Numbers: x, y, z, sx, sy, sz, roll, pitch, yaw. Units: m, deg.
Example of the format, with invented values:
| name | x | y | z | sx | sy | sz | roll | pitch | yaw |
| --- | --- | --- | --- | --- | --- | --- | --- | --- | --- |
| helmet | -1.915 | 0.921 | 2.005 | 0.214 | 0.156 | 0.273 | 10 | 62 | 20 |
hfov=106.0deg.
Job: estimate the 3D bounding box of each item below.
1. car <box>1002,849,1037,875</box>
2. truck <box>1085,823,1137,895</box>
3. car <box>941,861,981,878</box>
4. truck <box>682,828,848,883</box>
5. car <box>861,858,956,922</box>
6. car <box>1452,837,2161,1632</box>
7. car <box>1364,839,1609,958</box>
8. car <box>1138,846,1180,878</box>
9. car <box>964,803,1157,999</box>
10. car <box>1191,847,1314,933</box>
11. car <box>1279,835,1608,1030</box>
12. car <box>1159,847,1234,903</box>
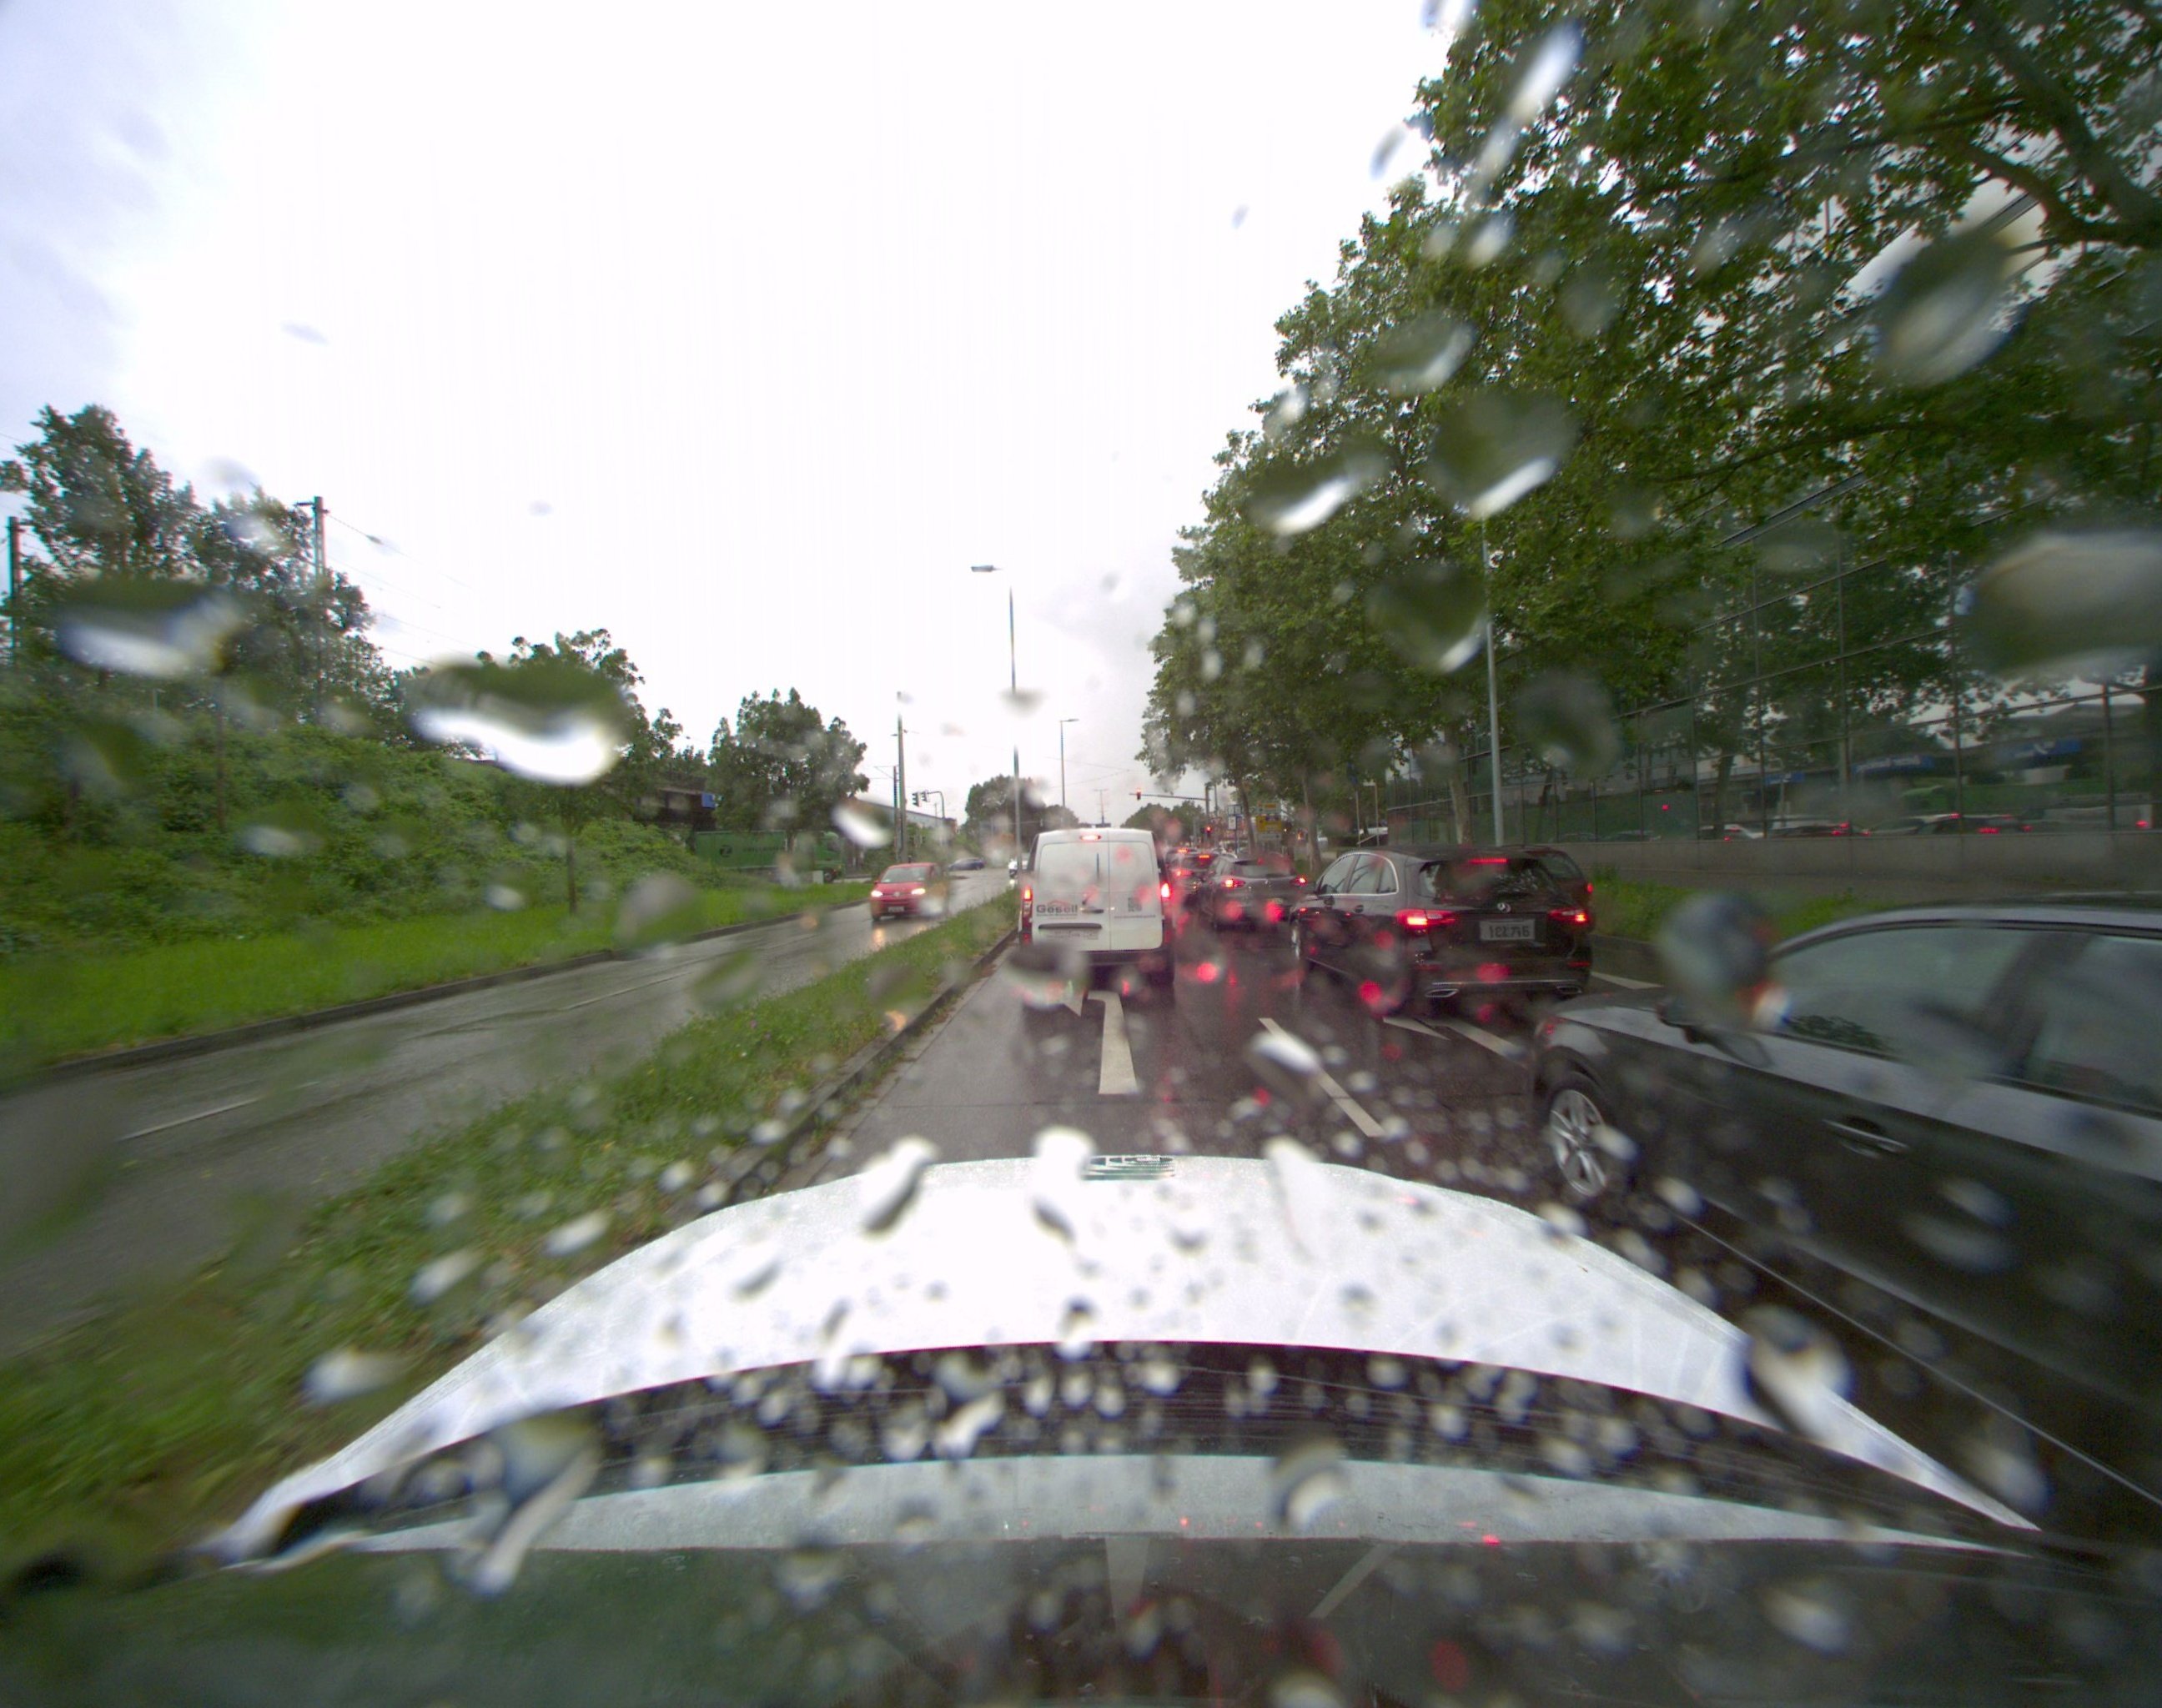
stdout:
| name | x | y | z | sx | sy | sz | roll | pitch | yaw |
| --- | --- | --- | --- | --- | --- | --- | --- | --- | --- |
| car | -4.099 | 0.494 | 55.154 | 1.956 | 1.525 | 4.334 | -3 | 1 | 0 |
| truck | 1.055 | 0.185 | 30.355 | 1.751 | 2.466 | 3.999 | -1 | 0 | 0 |
| car | -12.938 | 1.615 | 87.725 | 3.954 | 1.525 | 1.761 | -4 | 1 | -24 |
| truck | -21.371 | 0.117 | 55.563 | 10.185 | 3.452 | 2.629 | 0 | -2 | -36 |
| car | -4.805 | 0.943 | 23.156 | 1.709 | 1.513 | 3.616 | -4 | 0 | 2 |
| car | 2.956 | 0.681 | 2.297 | 1.987 | 1.452 | 3.999 | -1 | 0 | 0 |
| car | 6.067 | 0.597 | 12.803 | 1.833 | 1.537 | 4.111 | -1 | 0 | 0 |
| car | 3.705 | 0.344 | 39.016 | 1.705 | 1.445 | 4.002 | -2 | 0 | 1 |
| car | -0.210 | 0.479 | 10.582 | 1.987 | 2.013 | 4.000 | -1 | 0 | 0 |
| car | 3.286 | 0.618 | 16.329 | 1.705 | 1.445 | 4.002 | -2 | 0 | 1 |
| car | 3.449 | 0.609 | 8.647 | 1.703 | 1.549 | 4.000 | -2 | 1 | 0 |
| car | 3.293 | 0.549 | 23.833 | 1.705 | 1.445 | 4.002 | -2 | 0 | 1 |
